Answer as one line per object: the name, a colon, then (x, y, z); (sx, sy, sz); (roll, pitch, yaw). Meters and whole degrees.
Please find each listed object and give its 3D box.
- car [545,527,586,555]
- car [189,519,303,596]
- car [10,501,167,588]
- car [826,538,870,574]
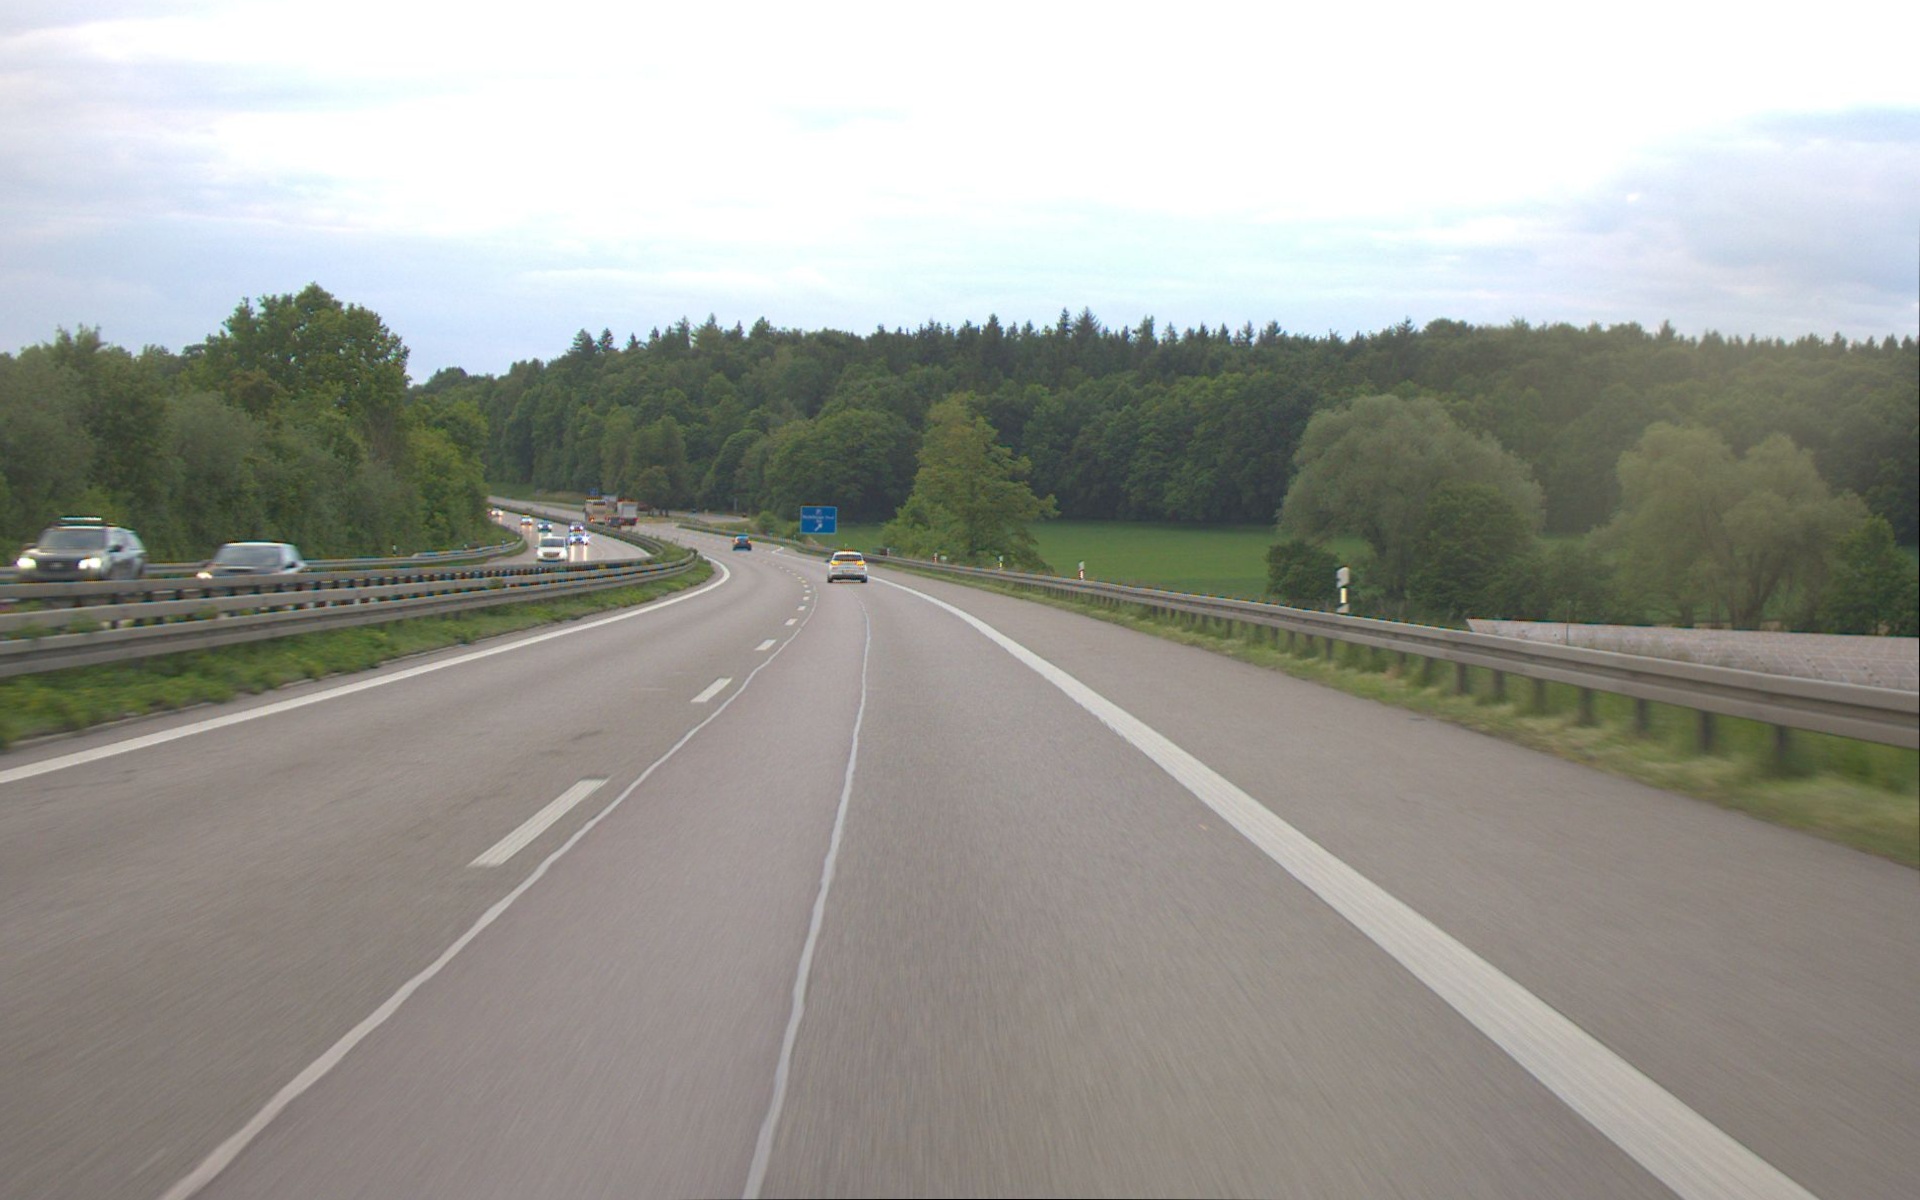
car: (-24.902, -3.736, 217.046); (1.993, 1.621, 5.736); (3, 1, -1)
car: (-14.740, -0.907, 71.146); (1.660, 1.435, 4.131); (3, 1, -4)
car: (-18.699, -1.223, 74.047); (1.886, 1.688, 5.769); (3, 1, -1)
car: (-5.222, -2.056, 159.651); (1.951, 1.526, 4.081); (3, 1, -2)
